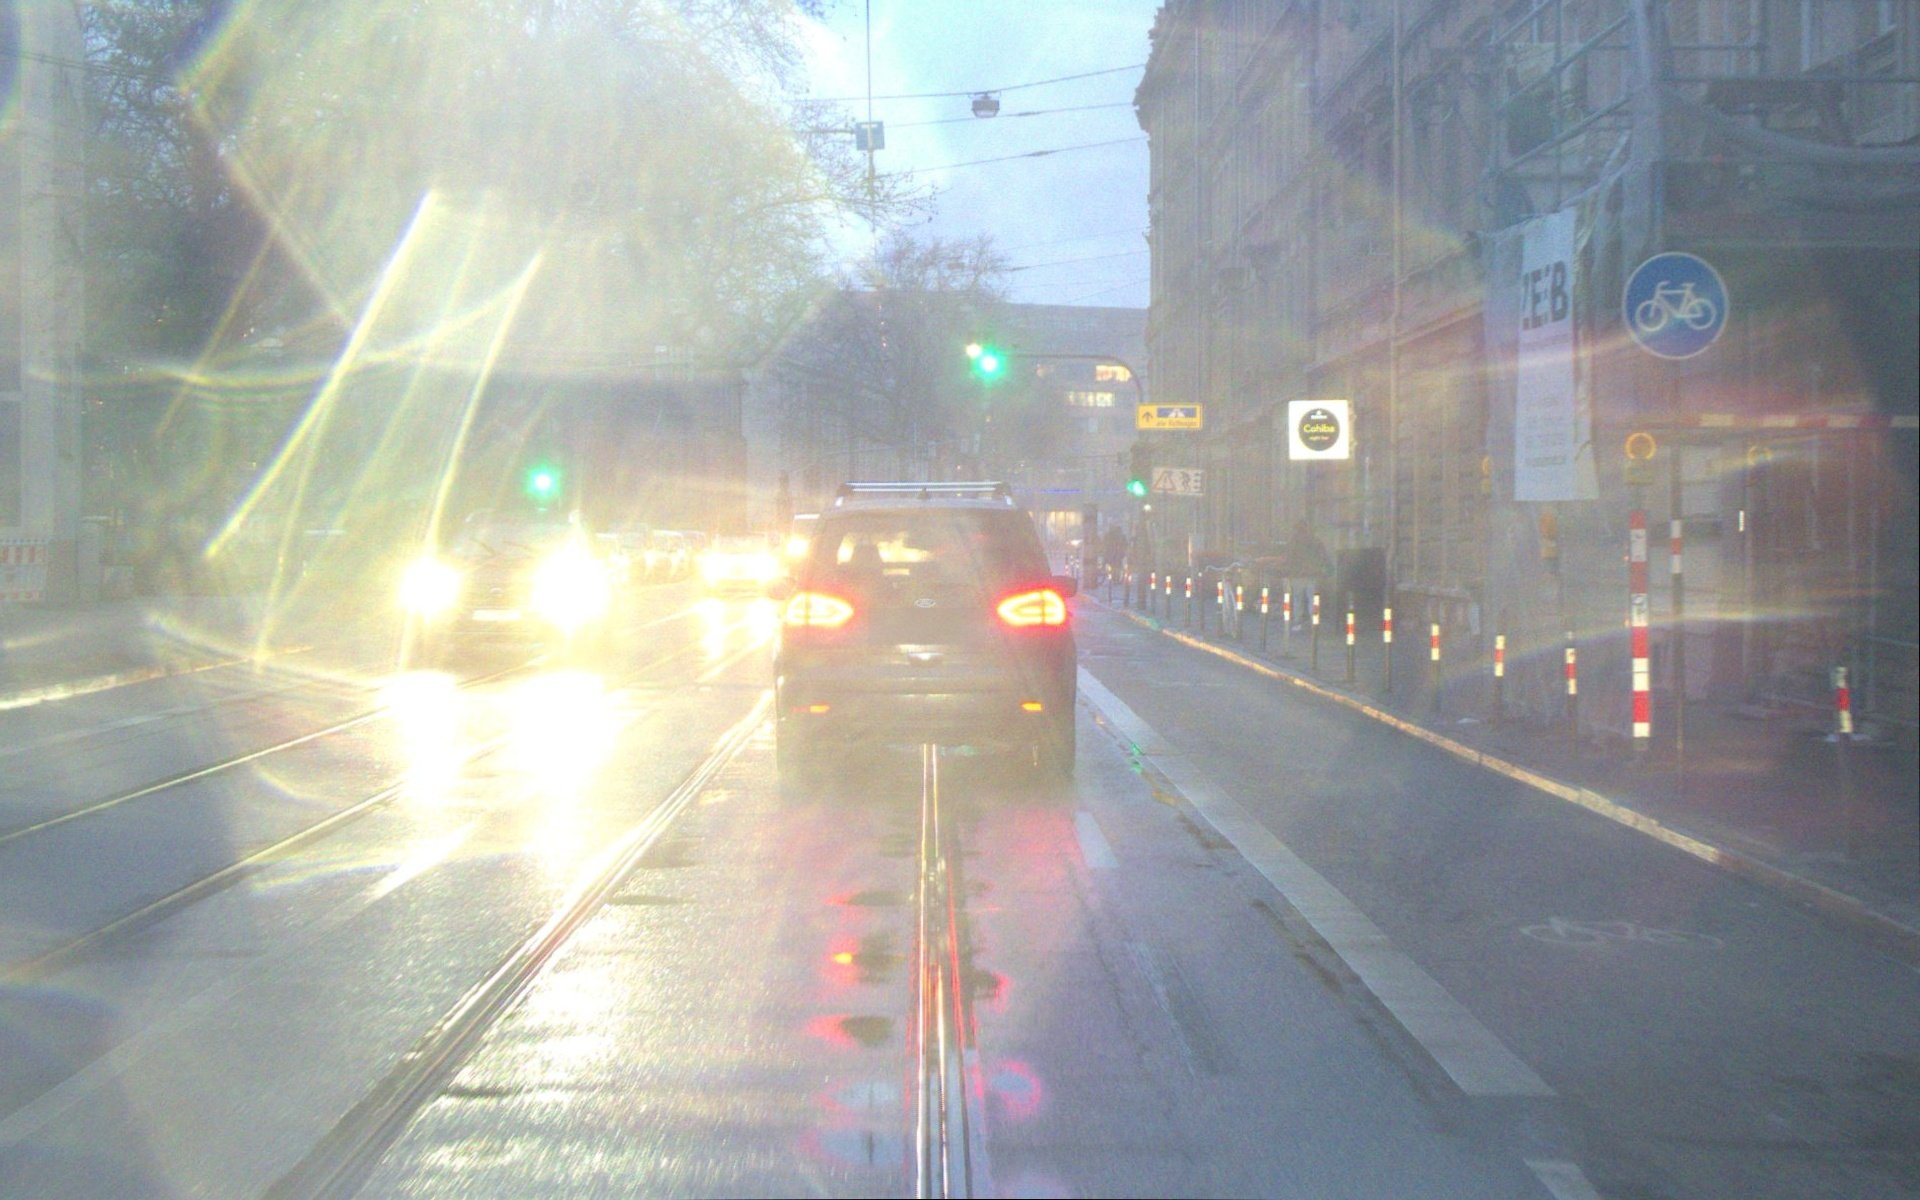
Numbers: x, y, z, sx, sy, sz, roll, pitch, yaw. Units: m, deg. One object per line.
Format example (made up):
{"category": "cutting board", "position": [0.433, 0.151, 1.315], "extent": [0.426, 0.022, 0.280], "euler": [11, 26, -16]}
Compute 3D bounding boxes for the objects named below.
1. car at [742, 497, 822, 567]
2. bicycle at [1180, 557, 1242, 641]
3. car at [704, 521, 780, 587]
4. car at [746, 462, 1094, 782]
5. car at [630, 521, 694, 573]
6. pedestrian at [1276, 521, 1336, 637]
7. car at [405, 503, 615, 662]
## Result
{"category": "car", "position": [-6.124, -2.329, 118.690], "extent": [2.446, 2.339, 5.845], "euler": [0, 1, 0]}
{"category": "bicycle", "position": [3.576, -0.026, 49.104], "extent": [0.684, 1.152, 2.188], "euler": [1, 1, 0]}
{"category": "car", "position": [-5.033, -1.085, 79.767], "extent": [1.530, 1.476, 3.561], "euler": [0, 1, 0]}
{"category": "car", "position": [-0.157, 0.094, 21.978], "extent": [1.994, 1.835, 4.000], "euler": [1, 1, 2]}
{"category": "car", "position": [-9.554, -1.702, 110.605], "extent": [1.983, 1.610, 4.430], "euler": [1, 1, -4]}
{"category": "pedestrian", "position": [5.183, -0.315, 51.473], "extent": [0.835, 1.695, 0.953], "euler": [1, 0, 8]}
{"category": "car", "position": [-5.112, -0.242, 39.633], "extent": [1.875, 1.704, 4.761], "euler": [0, 1, -1]}
